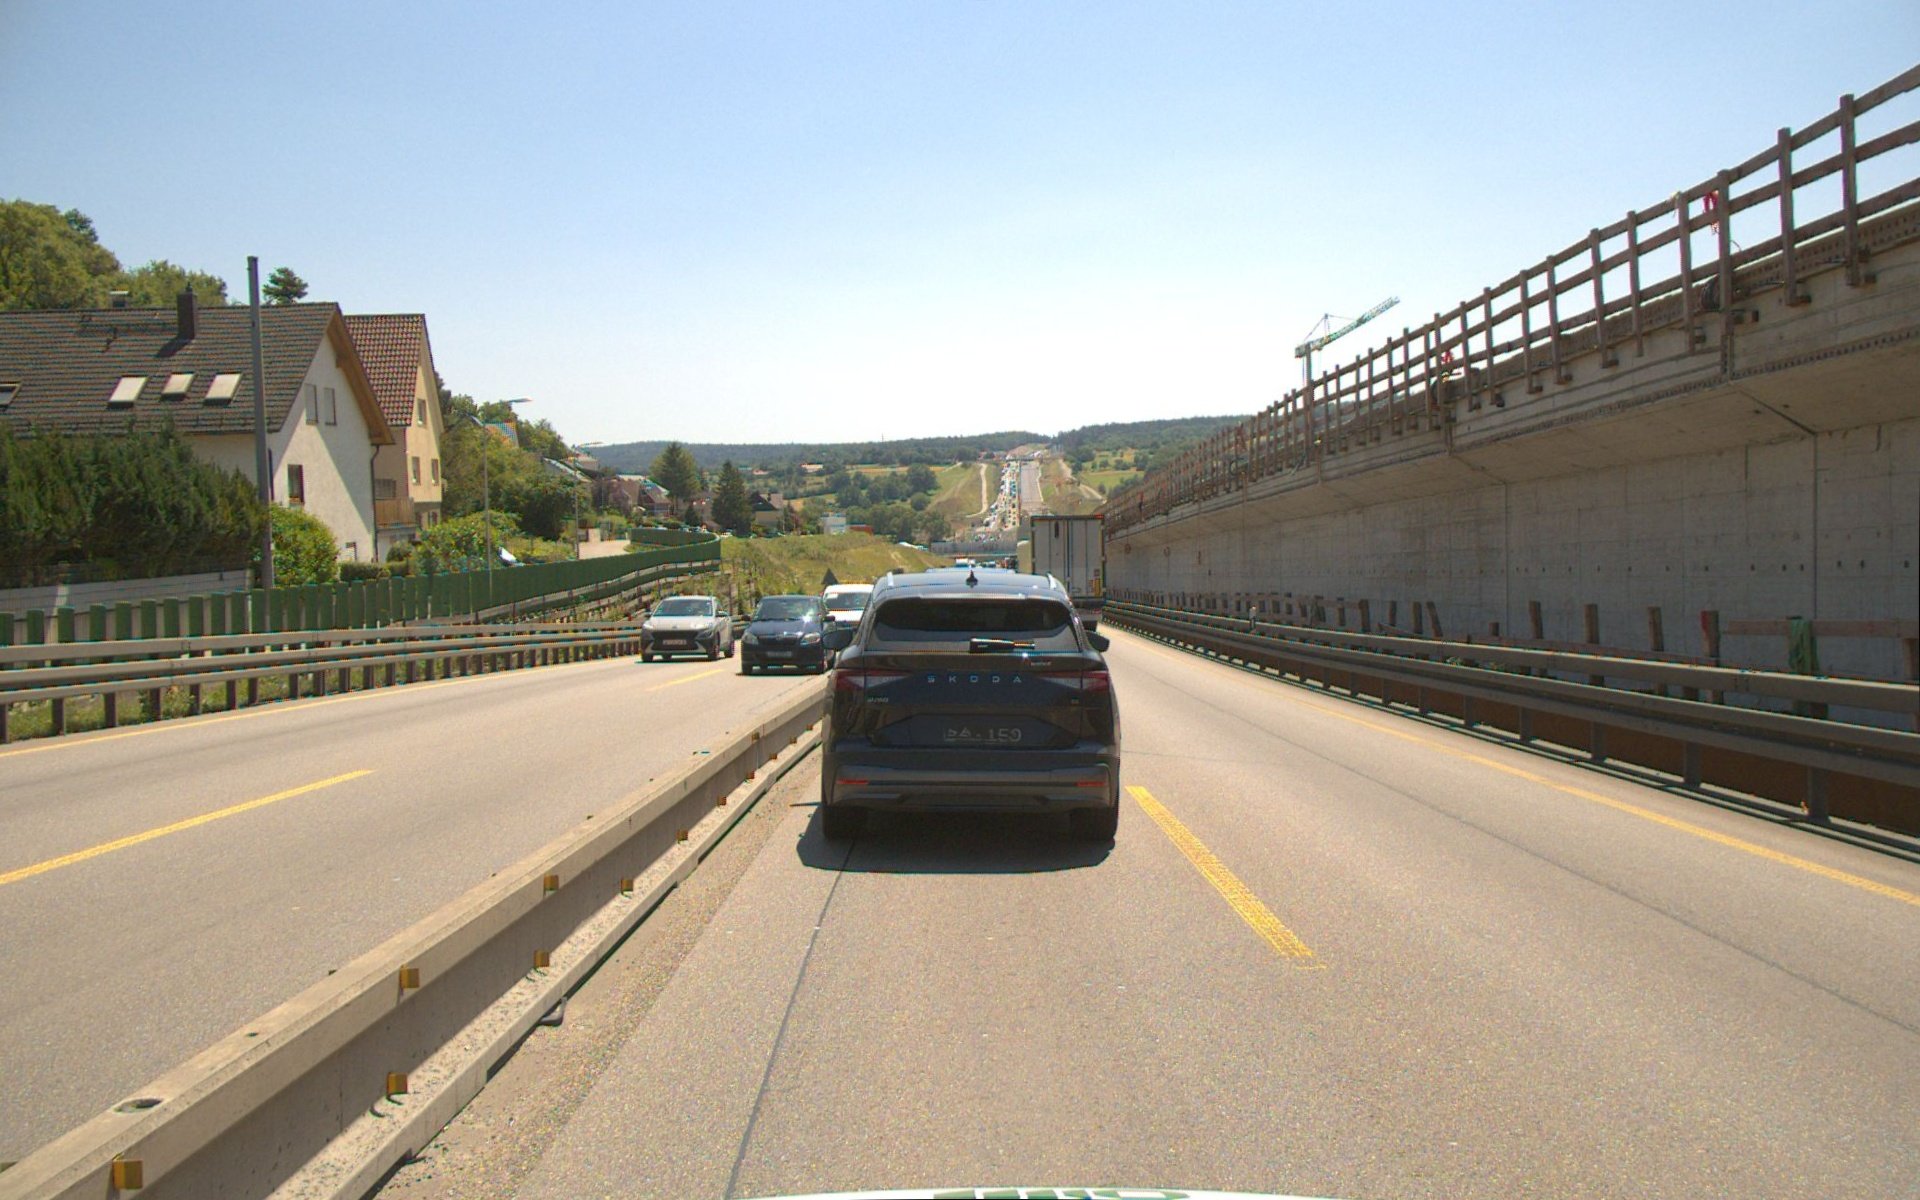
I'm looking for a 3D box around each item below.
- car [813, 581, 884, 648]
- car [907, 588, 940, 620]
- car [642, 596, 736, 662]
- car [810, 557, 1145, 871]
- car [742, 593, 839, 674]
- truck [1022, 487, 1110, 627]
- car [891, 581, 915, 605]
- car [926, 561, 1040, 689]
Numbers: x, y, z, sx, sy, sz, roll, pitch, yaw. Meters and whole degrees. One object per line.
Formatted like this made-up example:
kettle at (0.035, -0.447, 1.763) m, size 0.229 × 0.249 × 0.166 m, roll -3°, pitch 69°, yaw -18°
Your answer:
car at (-3.096, 0.383, 46.558) m, size 1.772 × 1.771 × 4.256 m, roll 0°, pitch 0°, yaw -1°
car at (-2.405, 0.270, 109.272) m, size 1.952 × 2.049 × 4.969 m, roll -2°, pitch 0°, yaw 1°
car at (-6.477, 0.668, 39.946) m, size 1.667 × 1.505 × 3.973 m, roll 0°, pitch 0°, yaw -1°
car at (0.106, 0.609, 10.846) m, size 1.746 × 1.625 × 3.755 m, roll -3°, pitch 0°, yaw 0°
car at (-3.280, 0.607, 32.694) m, size 1.539 × 1.487 × 4.213 m, roll 0°, pitch 0°, yaw -1°
truck at (3.805, -1.431, 62.126) m, size 2.787 × 4.696 × 11.813 m, roll -2°, pitch 0°, yaw 2°
car at (-4.803, -0.557, 139.164) m, size 1.789 × 1.959 × 5.238 m, roll -1°, pitch 0°, yaw -5°
car at (0.321, 0.364, 26.885) m, size 1.714 × 1.928 × 3.754 m, roll 0°, pitch 0°, yaw -1°
